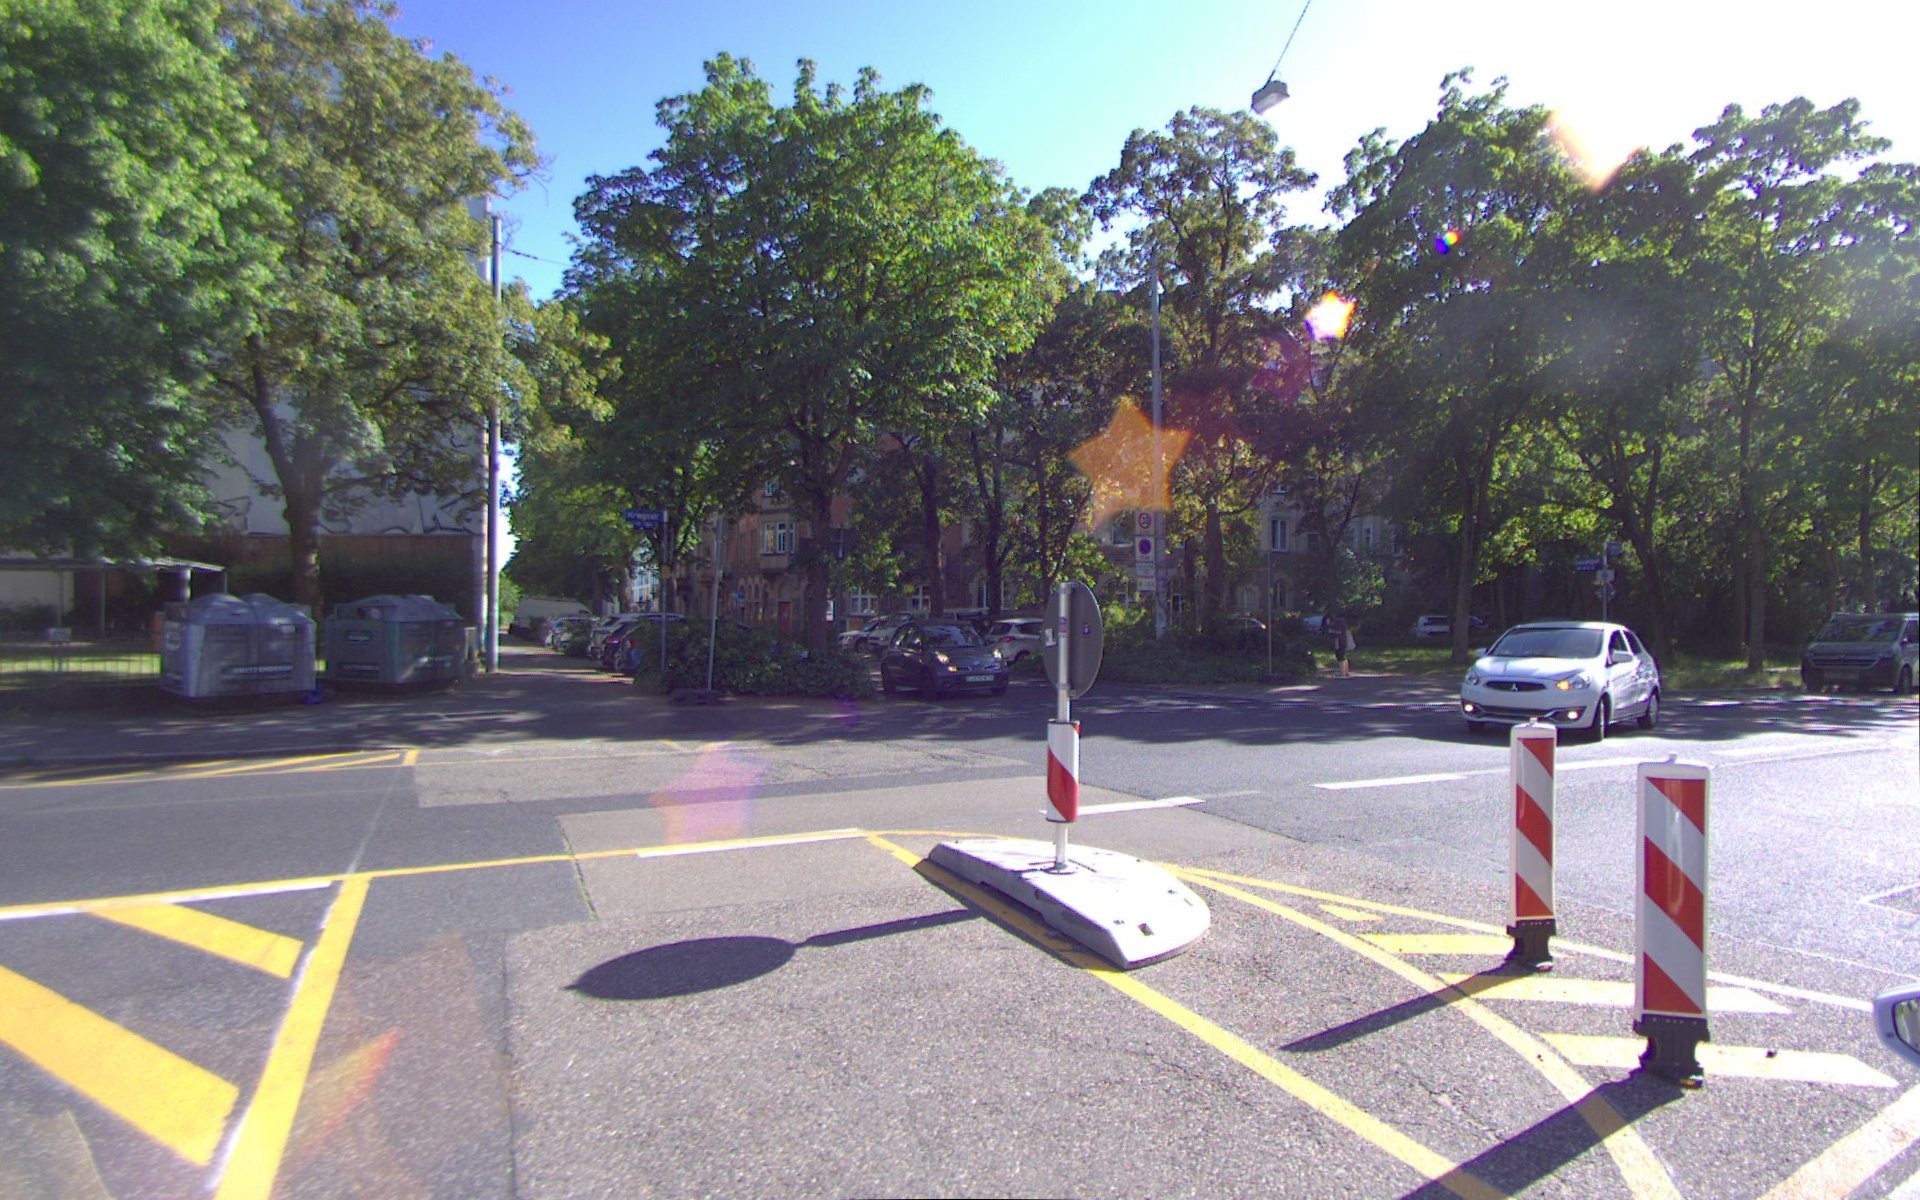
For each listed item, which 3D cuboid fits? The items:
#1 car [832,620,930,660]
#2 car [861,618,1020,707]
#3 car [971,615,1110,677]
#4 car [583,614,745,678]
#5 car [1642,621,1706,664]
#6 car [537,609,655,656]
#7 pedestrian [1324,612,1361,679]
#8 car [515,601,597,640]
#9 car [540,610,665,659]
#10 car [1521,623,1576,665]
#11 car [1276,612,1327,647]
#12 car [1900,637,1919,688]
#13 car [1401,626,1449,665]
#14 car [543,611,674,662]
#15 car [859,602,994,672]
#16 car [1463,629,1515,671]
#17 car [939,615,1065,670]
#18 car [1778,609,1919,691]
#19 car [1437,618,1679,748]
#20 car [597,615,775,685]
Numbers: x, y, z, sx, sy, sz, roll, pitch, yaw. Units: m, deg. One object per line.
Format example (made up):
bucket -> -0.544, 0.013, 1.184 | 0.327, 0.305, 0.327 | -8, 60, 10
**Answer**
car -> -3.539, 1.782, 44.762 | 3.947, 1.676, 1.839 | 2, 0, -26
car -> -0.513, 1.176, 20.496 | 1.786, 1.489, 3.975 | -2, 1, -25
car -> 2.551, 1.447, 31.547 | 3.955, 1.675, 1.836 | 5, -2, -31
car -> -8.232, 1.286, 28.023 | 3.955, 1.510, 1.836 | 5, -2, -31
car -> 29.723, 1.725, 41.766 | 1.951, 1.684, 3.983 | 0, -1, 38
car -> -14.078, 1.262, 38.848 | 3.955, 1.510, 1.836 | 5, -2, -31
pedestrian -> 9.692, 1.144, 25.478 | 0.701, 1.648, 0.671 | 1, 0, 2
car -> -23.771, 1.214, 59.080 | 4.333, 2.173, 1.839 | 1, -1, -27
car -> -13.055, 1.271, 36.698 | 3.955, 1.510, 1.836 | 5, -2, -31
car -> 25.358, 1.846, 43.377 | 1.946, 1.684, 3.993 | 0, -1, 29
car -> 16.020, 1.354, 46.958 | 1.790, 1.519, 3.996 | 0, -1, 26
car -> 28.197, 1.857, 27.983 | 3.950, 1.370, 1.707 | 4, -2, -27
car -> 21.391, 2.040, 46.155 | 1.944, 1.684, 3.996 | 0, -1, 26
car -> -12.186, 1.279, 34.875 | 3.955, 1.510, 1.836 | 5, -2, -31
car -> -1.279, 1.473, 39.569 | 4.930, 2.354, 1.836 | 5, -2, -31
car -> 23.230, 2.159, 44.158 | 1.945, 1.684, 3.995 | 0, -1, 27
car -> 1.431, 1.389, 33.984 | 3.954, 1.676, 1.836 | 0, 1, -31
car -> 23.697, 1.367, 25.993 | 4.802, 1.954, 2.191 | 3, -6, -29
car -> 8.351, 1.041, 13.909 | 3.828, 1.539, 1.744 | 1, -2, -41
car -> -6.935, 1.270, 25.506 | 3.955, 1.510, 1.836 | 5, -2, -31
